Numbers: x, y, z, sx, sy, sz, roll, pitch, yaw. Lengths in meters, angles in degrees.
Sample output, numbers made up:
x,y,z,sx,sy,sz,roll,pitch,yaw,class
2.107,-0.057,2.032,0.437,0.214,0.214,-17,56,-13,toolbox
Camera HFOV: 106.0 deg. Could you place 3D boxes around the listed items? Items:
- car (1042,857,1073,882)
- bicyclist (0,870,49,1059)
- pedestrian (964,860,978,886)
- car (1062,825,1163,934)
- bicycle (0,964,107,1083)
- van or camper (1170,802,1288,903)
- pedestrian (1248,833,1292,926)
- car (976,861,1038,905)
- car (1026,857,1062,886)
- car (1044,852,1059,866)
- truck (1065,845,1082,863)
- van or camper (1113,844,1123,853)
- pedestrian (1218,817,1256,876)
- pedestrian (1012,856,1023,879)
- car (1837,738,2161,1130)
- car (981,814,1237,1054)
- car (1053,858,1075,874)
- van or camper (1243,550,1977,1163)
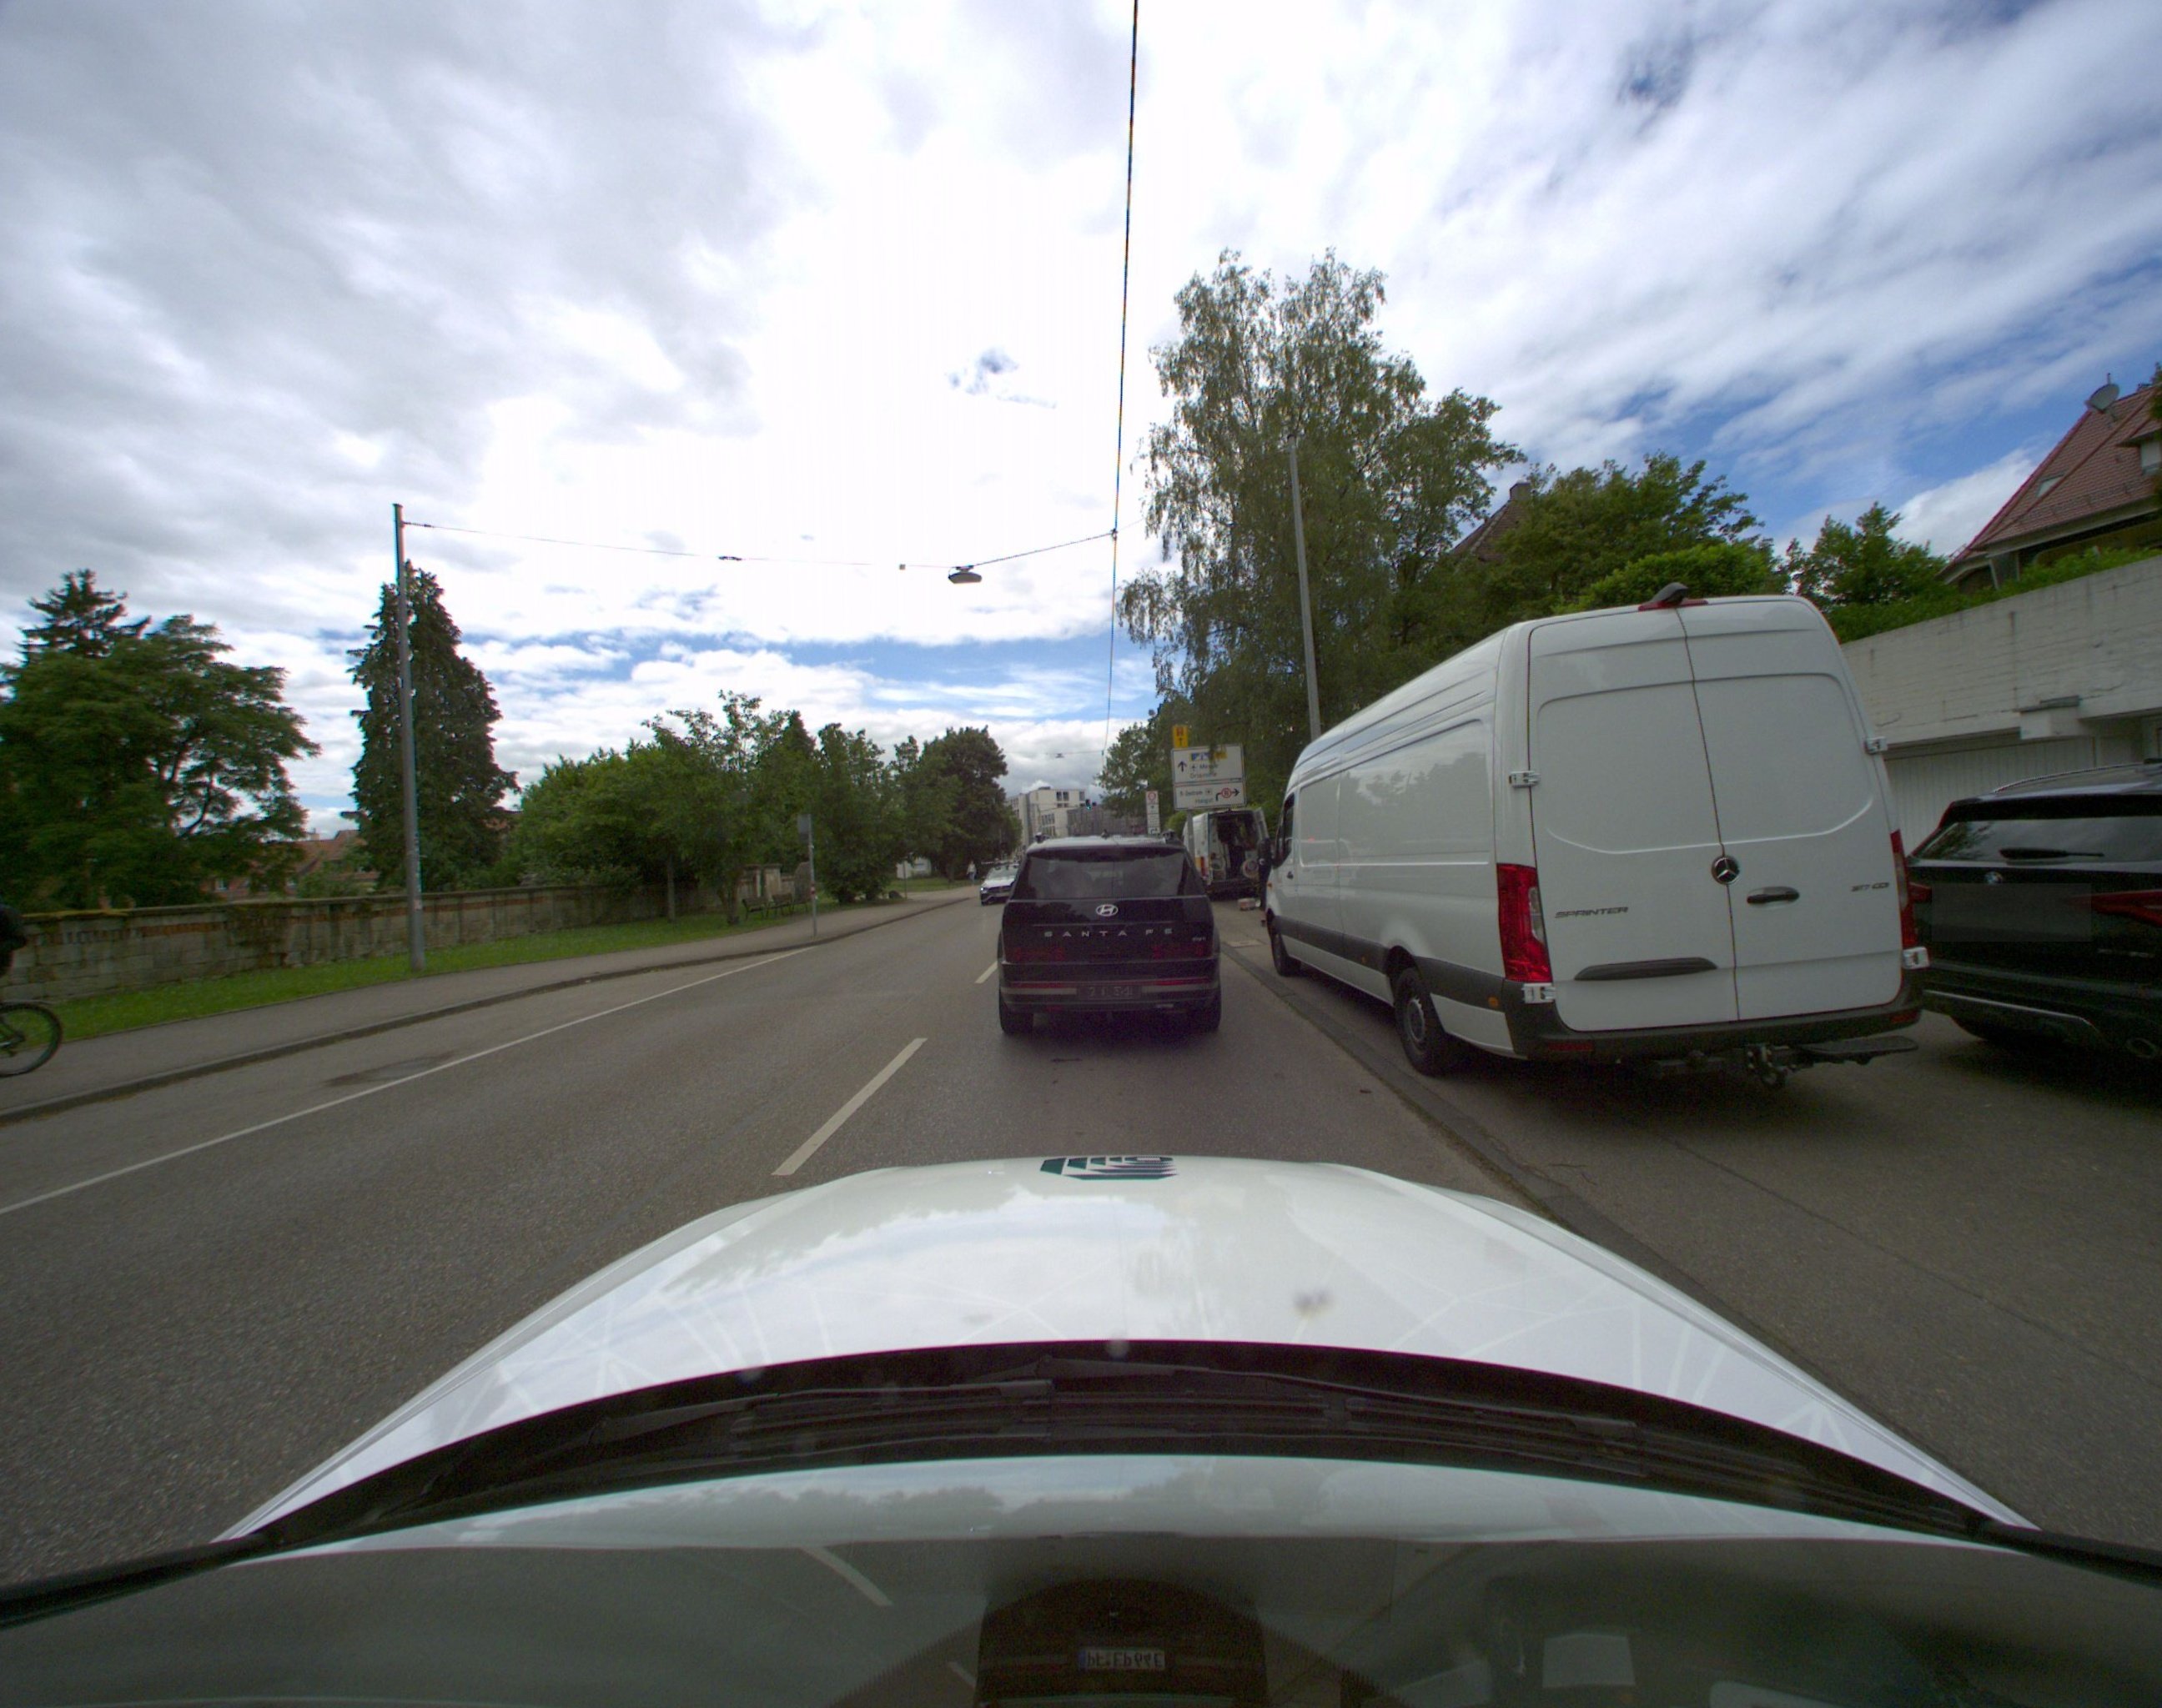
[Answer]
x,y,z,sx,sy,sz,roll,pitch,yaw,class
-1.699,1.108,60.475,1.873,1.644,4.129,-5,-1,1,car
-9.896,0.993,7.307,0.486,1.684,0.588,0,-1,1,bicyclist
-7.590,1.281,56.099,0.764,1.748,0.904,-2,-1,0,pedestrian
0.650,0.498,17.316,1.890,2.042,3.995,0,-1,2,car
-9.897,1.562,7.168,0.493,0.964,1.749,0,-1,2,bicycle
4.350,0.016,25.297,2.332,2.494,6.603,-6,-1,1,van or camper
3.588,0.474,15.464,0.784,1.721,0.755,-1,-1,13,pedestrian
-2.807,1.064,31.679,1.750,1.403,4.416,-5,-1,2,car
-2.107,0.997,47.487,1.695,1.483,4.001,-5,-1,2,car
-5.224,0.871,144.549,2.328,2.315,4.950,-3,0,-4,car
-1.863,0.014,184.919,3.102,3.859,9.606,-3,0,-4,truck
7.759,-1.160,172.568,1.791,1.999,3.821,0,-1,-2,van or camper
4.586,-0.219,23.964,0.791,1.643,0.743,-5,-1,27,pedestrian
-5.844,1.225,74.552,0.826,2.014,1.048,0,-1,4,pedestrian
6.792,0.209,4.034,4.365,1.675,1.696,-4,-1,2,car
0.269,0.612,8.046,1.890,1.776,3.995,0,-1,2,car
-1.708,1.175,83.298,1.808,1.419,4.830,-6,-1,1,car
3.070,0.035,7.018,1.984,2.625,6.546,-6,-1,2,van or camper
